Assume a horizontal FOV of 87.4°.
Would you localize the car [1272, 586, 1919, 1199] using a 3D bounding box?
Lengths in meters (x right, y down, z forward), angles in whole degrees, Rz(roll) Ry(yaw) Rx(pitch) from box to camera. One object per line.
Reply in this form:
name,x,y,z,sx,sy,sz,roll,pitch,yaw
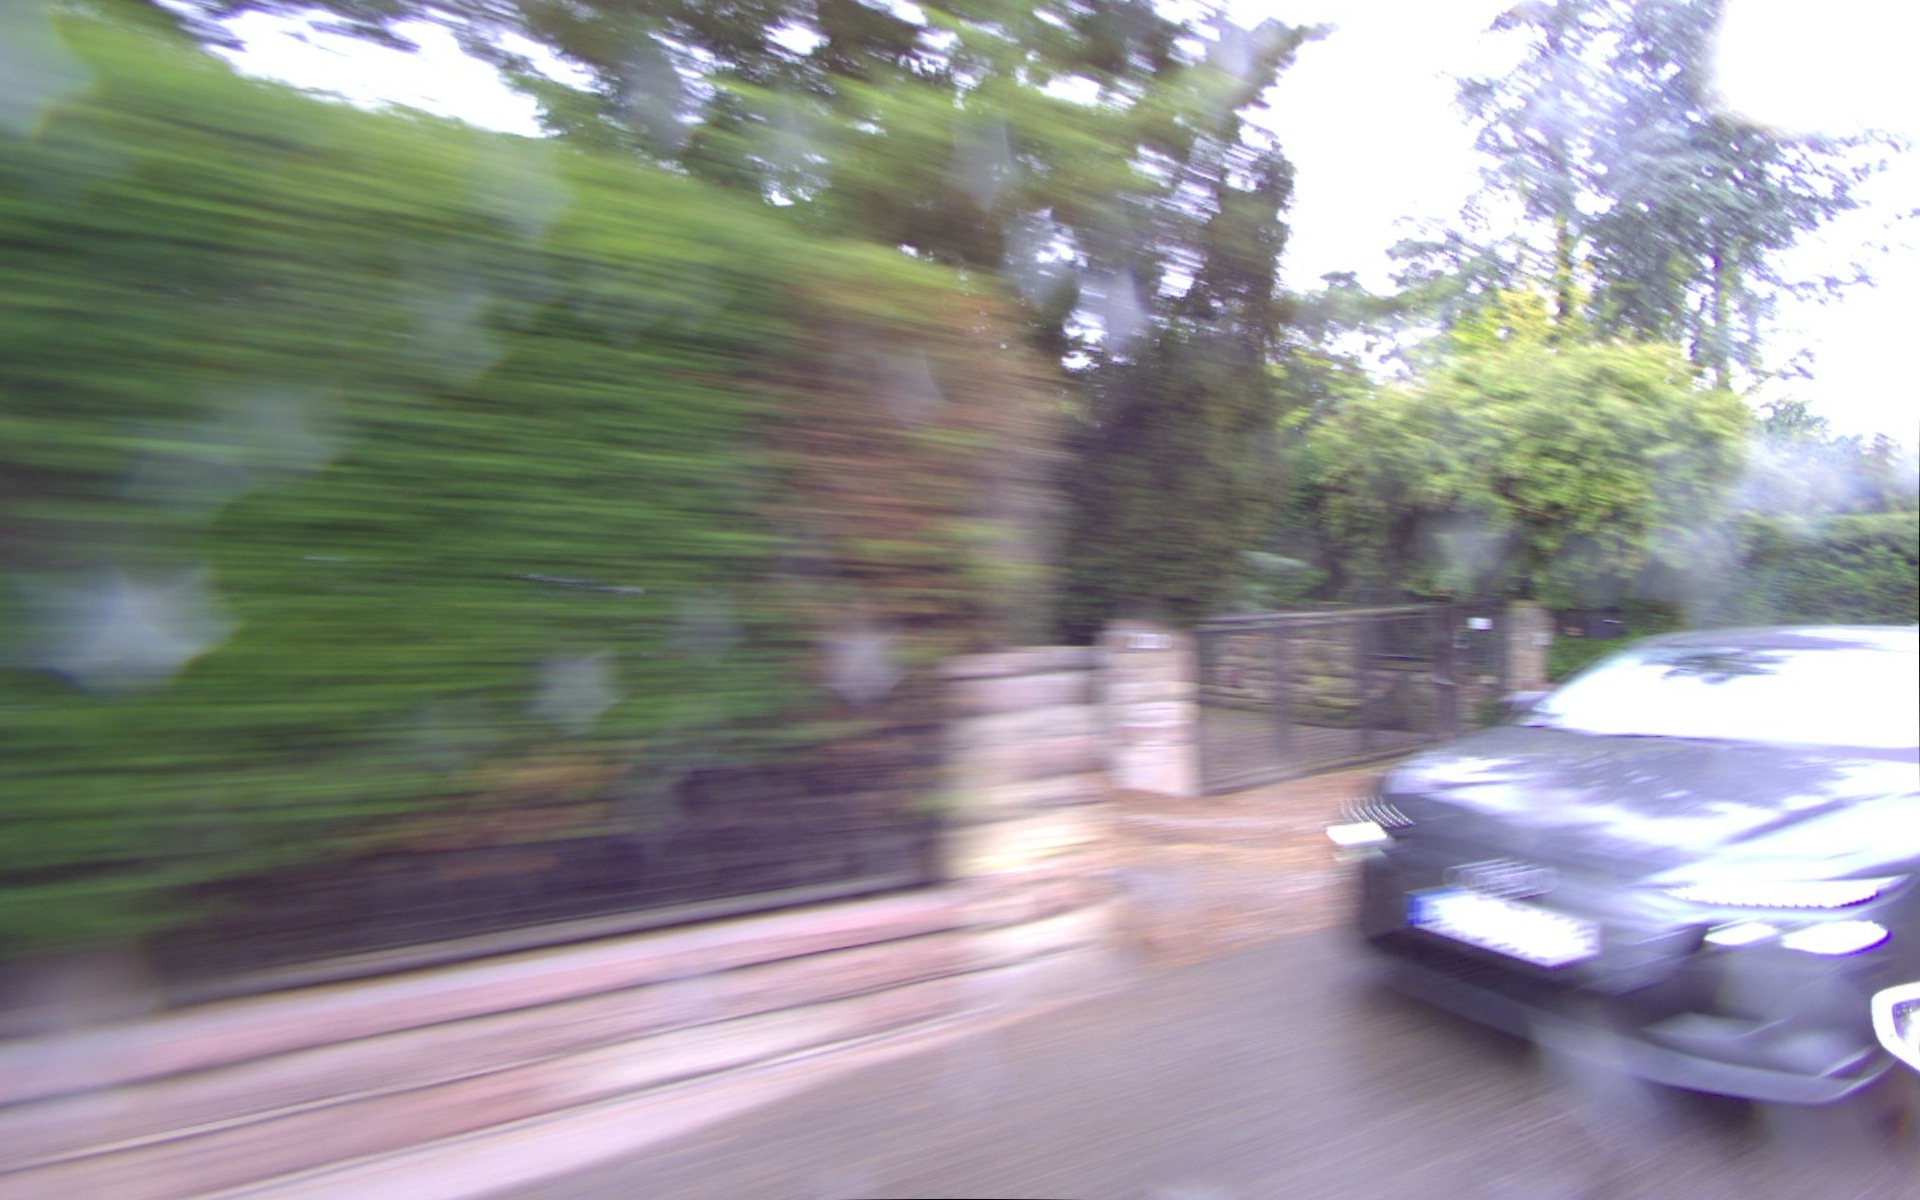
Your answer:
car,3.597,0.819,4.343,4.372,1.543,1.879,2,-1,-32
